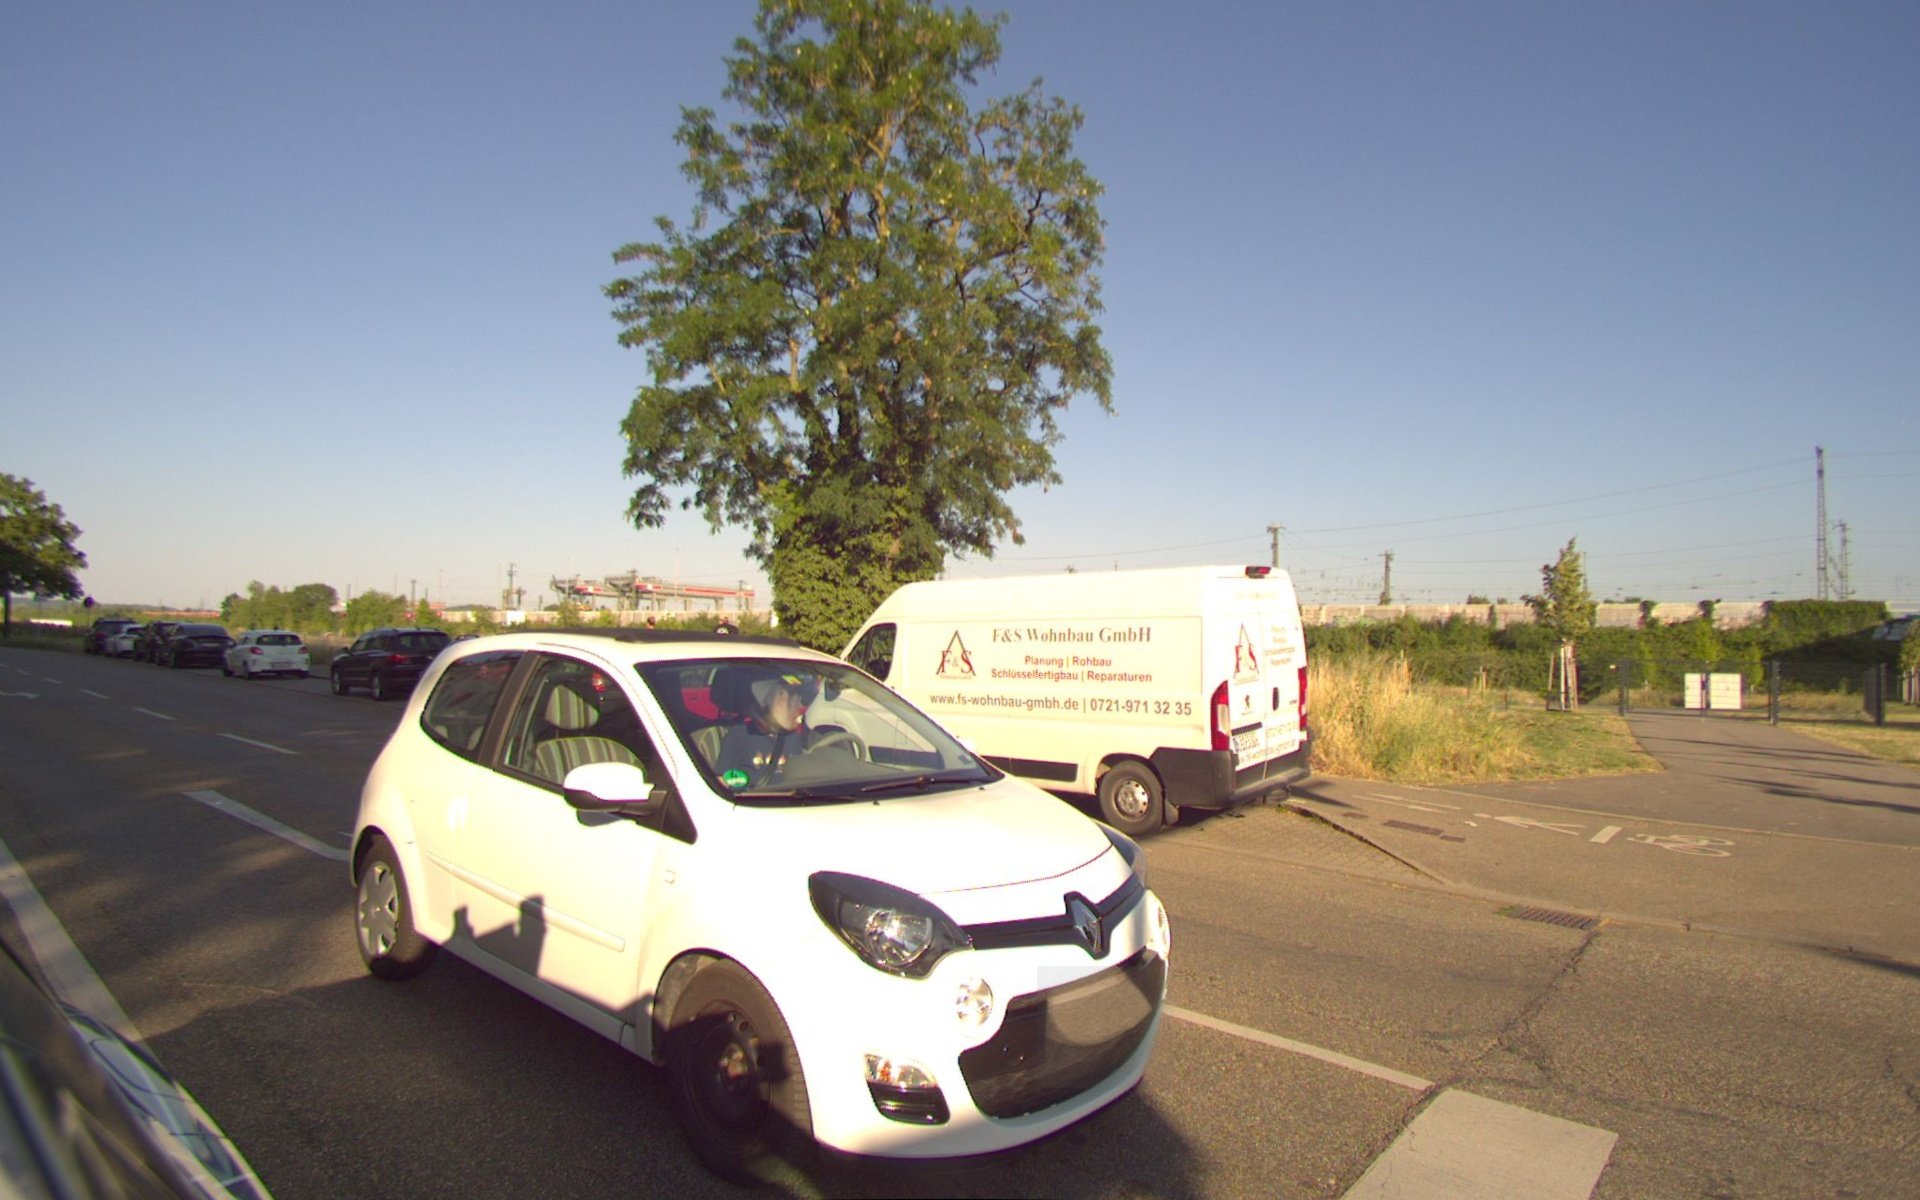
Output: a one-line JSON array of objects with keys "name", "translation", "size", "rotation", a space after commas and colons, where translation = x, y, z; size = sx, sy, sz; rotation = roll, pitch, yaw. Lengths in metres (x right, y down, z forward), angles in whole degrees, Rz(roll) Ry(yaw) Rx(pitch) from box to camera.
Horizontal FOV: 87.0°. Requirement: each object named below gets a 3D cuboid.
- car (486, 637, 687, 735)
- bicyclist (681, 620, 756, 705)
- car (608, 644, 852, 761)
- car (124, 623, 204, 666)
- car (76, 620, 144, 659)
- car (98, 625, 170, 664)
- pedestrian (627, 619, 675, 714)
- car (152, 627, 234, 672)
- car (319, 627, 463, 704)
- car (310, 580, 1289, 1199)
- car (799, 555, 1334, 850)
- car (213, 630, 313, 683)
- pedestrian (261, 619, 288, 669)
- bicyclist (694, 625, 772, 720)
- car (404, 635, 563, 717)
[{"name": "car", "translation": [-6.809, 1.491, 18.320], "size": [3.814, 1.541, 1.723], "rotation": [-1, -4, 40]}, {"name": "bicyclist", "translation": [-4.724, 1.214, 19.822], "size": [1.144, 1.609, 0.856], "rotation": [-1, -4, 37]}, {"name": "car", "translation": [-3.559, 1.471, 15.398], "size": [3.692, 1.498, 1.723], "rotation": [-1, -4, 40]}, {"name": "car", "translation": [-32.394, 1.802, 41.151], "size": [4.219, 1.650, 1.799], "rotation": [-1, -4, 43]}, {"name": "car", "translation": [-40.851, 1.883, 48.609], "size": [4.219, 1.789, 1.866], "rotation": [-1, -4, 43]}, {"name": "car", "translation": [-36.480, 1.941, 44.662], "size": [4.219, 1.586, 1.799], "rotation": [-1, -4, 43]}, {"name": "pedestrian", "translation": [-6.717, 1.435, 21.997], "size": [0.729, 2.029, 0.608], "rotation": [-1, -4, 39]}, {"name": "car", "translation": [-28.244, 1.806, 37.230], "size": [1.798, 1.538, 4.292], "rotation": [5, -4, -45]}, {"name": "car", "translation": [-13.607, 1.520, 24.117], "size": [4.003, 1.672, 1.642], "rotation": [-1, -4, 40]}, {"name": "car", "translation": [-0.879, 0.771, 3.944], "size": [3.772, 1.480, 1.683], "rotation": [-1, -4, 40]}, {"name": "car", "translation": [0.918, 0.892, 11.085], "size": [5.556, 2.455, 2.207], "rotation": [-1, -1, 40]}, {"name": "car", "translation": [-21.569, 1.724, 31.294], "size": [3.582, 1.538, 1.684], "rotation": [-1, -4, 42]}, {"name": "pedestrian", "translation": [-28.092, 1.797, 41.468], "size": [0.710, 2.029, 0.697], "rotation": [-1, -4, 42]}, {"name": "bicyclist", "translation": [-4.021, 1.272, 17.940], "size": [1.145, 1.609, 0.758], "rotation": [-1, -4, 40]}, {"name": "car", "translation": [-10.025, 1.542, 21.199], "size": [3.577, 1.541, 1.642], "rotation": [-1, -4, 40]}]
